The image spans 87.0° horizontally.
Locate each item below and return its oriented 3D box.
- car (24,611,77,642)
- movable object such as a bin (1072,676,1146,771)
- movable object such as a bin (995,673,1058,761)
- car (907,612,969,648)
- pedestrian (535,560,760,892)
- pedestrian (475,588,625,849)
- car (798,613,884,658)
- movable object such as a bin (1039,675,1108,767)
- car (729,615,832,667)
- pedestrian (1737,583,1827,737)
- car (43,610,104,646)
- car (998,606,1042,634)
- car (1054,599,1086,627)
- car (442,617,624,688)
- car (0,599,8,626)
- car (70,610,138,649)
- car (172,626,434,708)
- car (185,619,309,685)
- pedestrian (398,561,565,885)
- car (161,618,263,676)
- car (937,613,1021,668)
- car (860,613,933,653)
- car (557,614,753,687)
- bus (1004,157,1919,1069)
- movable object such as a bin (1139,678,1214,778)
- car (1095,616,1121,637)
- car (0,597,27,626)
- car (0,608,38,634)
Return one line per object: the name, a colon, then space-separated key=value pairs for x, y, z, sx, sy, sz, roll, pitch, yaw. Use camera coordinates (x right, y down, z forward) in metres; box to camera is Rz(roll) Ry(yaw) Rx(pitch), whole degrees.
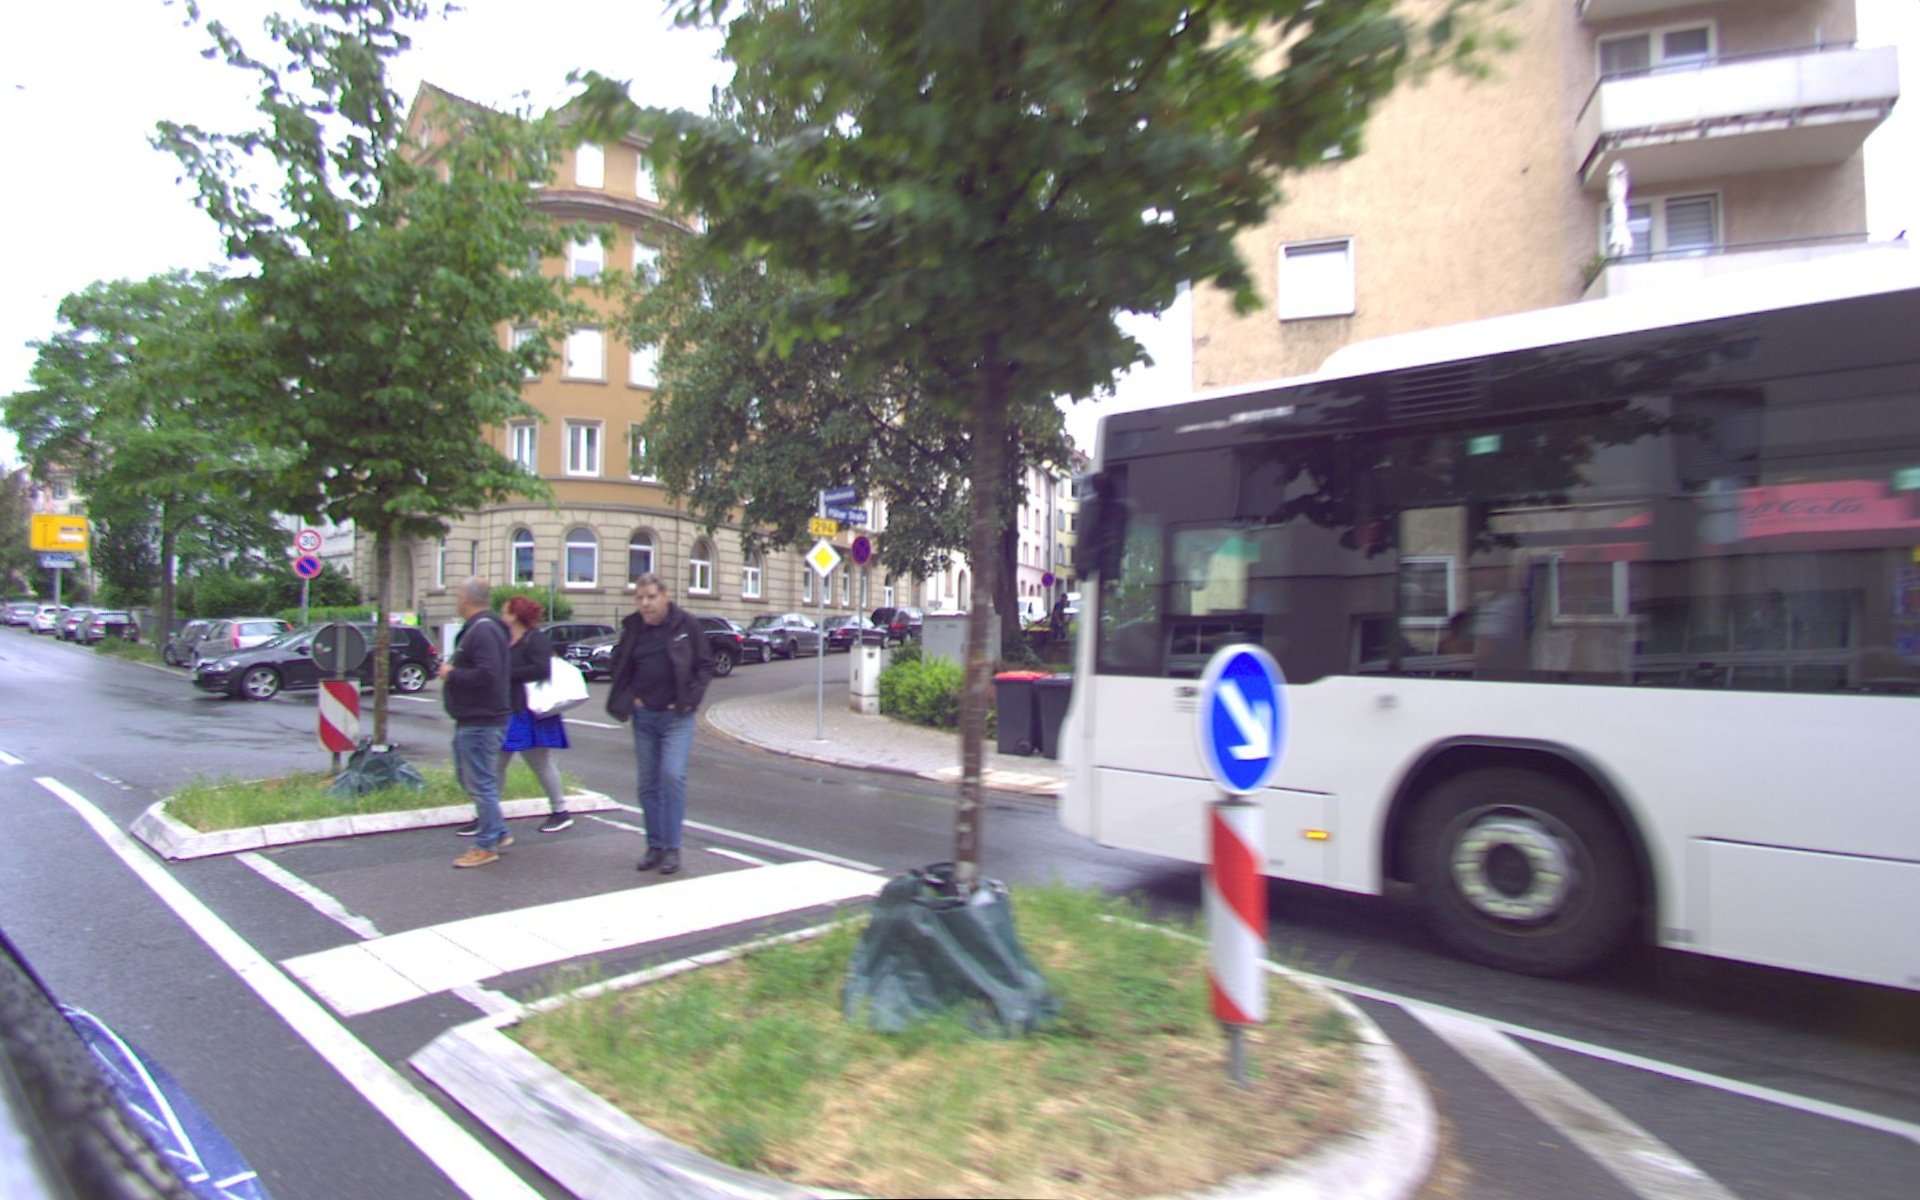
car: x=-47.813 y=1.344 z=53.191 sx=3.392 sy=1.527 sz=1.650 roll=0 pitch=1 yaw=41
movable object such as a bin: x=1.820 y=1.488 z=12.354 sx=0.731 sy=1.066 sz=0.579 roll=2 pitch=-2 yaw=-44
movable object such as a bin: x=0.879 y=1.521 z=13.315 sx=0.576 sy=1.066 sz=0.735 roll=0 pitch=-1 yaw=29
car: x=-1.038 y=1.493 z=50.615 sx=1.983 sy=1.697 sz=3.977 roll=0 pitch=-1 yaw=17
pedestrian: x=-1.797 y=0.709 z=6.015 sx=0.844 sy=1.762 sz=1.061 roll=1 pitch=-5 yaw=6
pedestrian: x=-2.853 y=0.790 z=7.037 sx=0.779 sy=1.678 sz=0.700 roll=4 pitch=-4 yaw=-33
car: x=-4.695 y=1.381 z=40.572 sx=1.983 sy=1.697 sz=3.977 roll=0 pitch=-1 yaw=17
movable object such as a bin: x=1.441 y=1.513 z=12.854 sx=0.578 sy=1.066 sz=0.733 roll=0 pitch=-2 yaw=37
car: x=-6.257 y=1.402 z=35.761 sx=1.983 sy=1.697 sz=3.977 roll=0 pitch=-1 yaw=17
pedestrian: x=10.666 y=0.774 z=13.135 sx=0.567 sy=1.941 sz=0.617 roll=-1 pitch=-4 yaw=-37
car: x=-40.400 y=1.246 z=46.118 sx=3.392 sy=1.527 sz=1.650 roll=0 pitch=1 yaw=41
car: x=3.911 y=1.290 z=65.453 sx=1.983 sy=1.697 sz=3.977 roll=0 pitch=-1 yaw=17
car: x=8.647 y=1.024 z=79.499 sx=1.981 sy=2.095 sz=3.981 roll=0 pitch=-1 yaw=15
car: x=-11.106 y=1.303 z=26.448 sx=3.939 sy=1.697 sz=2.002 roll=2 pitch=-2 yaw=-43
car: x=-70.225 y=0.882 z=73.192 sx=3.657 sy=1.896 sz=1.619 roll=0 pitch=-2 yaw=41
car: x=-35.909 y=1.191 z=42.434 sx=3.695 sy=1.527 sz=1.650 roll=0 pitch=1 yaw=41
car: x=-12.752 y=1.232 z=19.836 sx=1.809 sy=1.431 sz=3.948 roll=-2 pitch=-2 yaw=38
car: x=-18.685 y=1.289 z=26.477 sx=3.674 sy=1.527 sz=1.791 roll=0 pitch=1 yaw=40
pedestrian: x=-2.827 y=0.689 z=5.990 sx=0.698 sy=1.762 sz=0.603 roll=-2 pitch=-4 yaw=42
car: x=-21.734 y=1.306 z=29.369 sx=3.391 sy=1.527 sz=1.651 roll=0 pitch=1 yaw=40
car: x=0.734 y=1.388 z=36.097 sx=1.983 sy=1.696 sz=3.978 roll=0 pitch=1 yaw=17
car: x=-2.799 y=1.436 z=45.454 sx=1.983 sy=1.697 sz=3.977 roll=0 pitch=-1 yaw=17
car: x=-7.554 y=1.225 z=25.454 sx=1.809 sy=1.659 sz=4.544 roll=-2 pitch=-3 yaw=38
bus: x=5.756 y=0.126 z=3.416 sx=11.955 sy=3.271 sz=2.776 roll=0 pitch=-6 yaw=41
movable object such as a bin: x=2.555 y=1.476 z=11.877 sx=0.806 sy=1.066 sz=0.738 roll=0 pitch=-1 yaw=17
car: x=14.385 y=2.554 z=98.317 sx=1.982 sy=2.029 sz=3.979 roll=0 pitch=-1 yaw=16
car: x=-63.248 y=0.786 z=67.121 sx=3.657 sy=1.896 sz=1.619 roll=0 pitch=-2 yaw=41
car: x=-59.530 y=1.298 z=63.971 sx=3.393 sy=1.527 sz=1.538 roll=0 pitch=1 yaw=42
